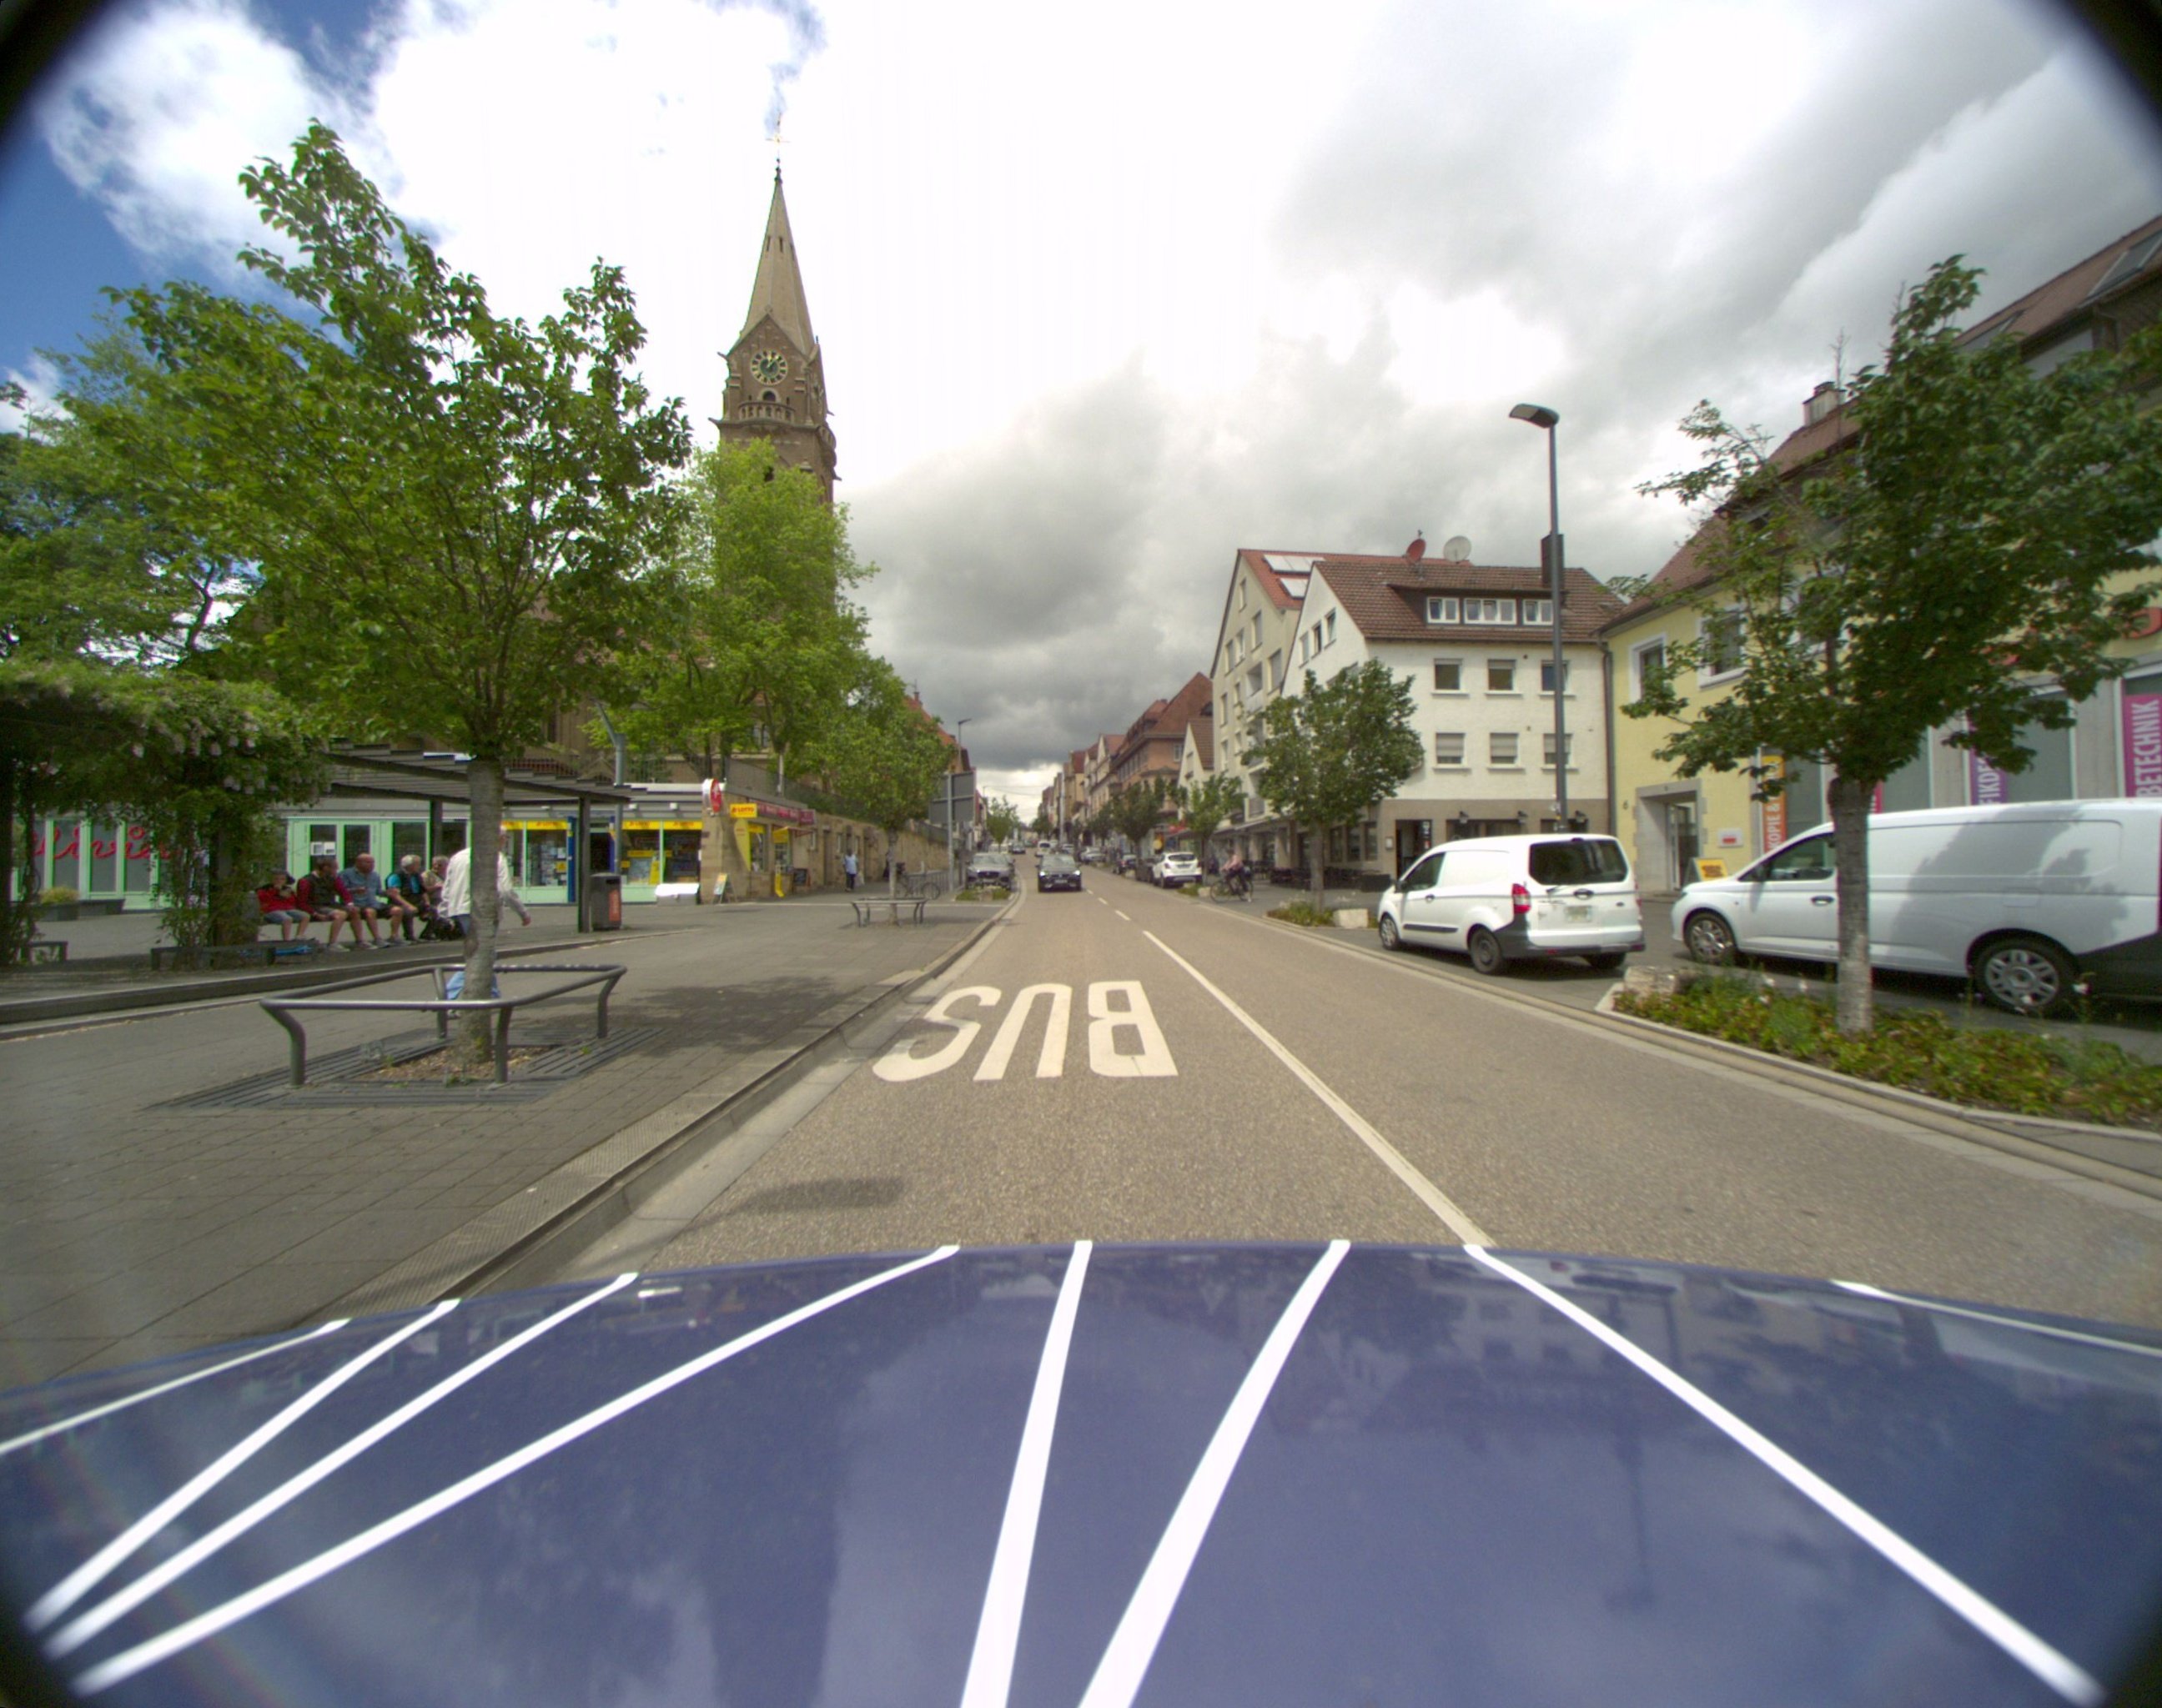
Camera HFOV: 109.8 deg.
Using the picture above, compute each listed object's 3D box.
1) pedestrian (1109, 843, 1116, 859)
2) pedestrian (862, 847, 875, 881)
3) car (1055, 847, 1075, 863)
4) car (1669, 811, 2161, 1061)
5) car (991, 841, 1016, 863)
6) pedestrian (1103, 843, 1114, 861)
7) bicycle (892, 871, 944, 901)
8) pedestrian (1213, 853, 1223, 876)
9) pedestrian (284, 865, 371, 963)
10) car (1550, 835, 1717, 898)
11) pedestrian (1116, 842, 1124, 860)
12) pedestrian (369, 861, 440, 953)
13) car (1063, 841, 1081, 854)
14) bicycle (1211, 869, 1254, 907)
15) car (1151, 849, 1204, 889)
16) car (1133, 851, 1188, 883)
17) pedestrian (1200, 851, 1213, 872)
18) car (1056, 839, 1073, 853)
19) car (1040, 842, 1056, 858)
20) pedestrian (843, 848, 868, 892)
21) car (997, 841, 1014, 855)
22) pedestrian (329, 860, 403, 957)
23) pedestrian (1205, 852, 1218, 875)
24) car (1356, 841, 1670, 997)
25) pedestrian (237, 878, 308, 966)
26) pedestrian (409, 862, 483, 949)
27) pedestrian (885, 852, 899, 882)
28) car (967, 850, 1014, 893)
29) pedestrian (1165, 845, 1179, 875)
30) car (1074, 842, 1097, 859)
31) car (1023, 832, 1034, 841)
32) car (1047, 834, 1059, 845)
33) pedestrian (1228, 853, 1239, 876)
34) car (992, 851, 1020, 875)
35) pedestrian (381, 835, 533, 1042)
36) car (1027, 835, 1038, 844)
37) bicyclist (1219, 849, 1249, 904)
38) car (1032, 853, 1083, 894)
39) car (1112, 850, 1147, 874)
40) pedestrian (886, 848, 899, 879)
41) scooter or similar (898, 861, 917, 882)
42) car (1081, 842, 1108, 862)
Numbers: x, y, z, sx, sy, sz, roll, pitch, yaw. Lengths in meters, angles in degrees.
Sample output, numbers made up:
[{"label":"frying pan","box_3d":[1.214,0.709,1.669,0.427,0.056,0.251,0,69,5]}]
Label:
[{"label":"pedestrian","box_3d":[2.910,-0.292,69.990,0.497,1.469,0.528,-1,3,-8]},{"label":"pedestrian","box_3d":[-10.629,0.495,37.980,0.474,1.636,0.506,0,2,6]},{"label":"car","box_3d":[-1.467,0.086,68.627,1.611,1.380,3.627,1,1,-4]},{"label":"car","box_3d":[8.575,0.558,7.588,1.761,1.803,4.475,-2,0,-3]},{"label":"car","box_3d":[-6.928,-0.243,68.467,1.890,1.837,5.028,0,2,-1]},{"label":"pedestrian","box_3d":[2.597,-0.193,72.237,0.873,1.657,0.905,-1,2,-8]},{"label":"bicycle","box_3d":[-5.607,1.097,26.167,1.732,0.990,0.345,1,1,-9]},{"label":"pedestrian","box_3d":[7.573,0.579,41.959,0.422,1.292,0.454,-2,1,-5]},{"label":"pedestrian","box_3d":[-9.885,0.774,9.987,0.569,1.254,0.542,0,-2,4]},{"label":"car","box_3d":[15.675,0.339,21.661,3.538,1.641,1.731,-1,0,-4]},{"label":"pedestrian","box_3d":[3.614,-0.293,69.942,0.615,1.573,0.641,-1,3,-8]},{"label":"pedestrian","box_3d":[-9.928,0.775,11.167,0.496,1.312,0.575,0,-2,3]},{"label":"car","box_3d":[-1.021,-0.734,87.904,1.733,1.423,3.500,-1,2,-6]},{"label":"bicycle","box_3d":[4.816,1.049,24.080,1.657,1.081,0.412,-3,3,-41]},{"label":"car","box_3d":[4.361,0.648,34.917,1.670,1.637,4.131,-2,1,-3]},{"label":"car","box_3d":[4.134,0.643,40.409,1.845,1.443,4.511,-2,2,-8]},{"label":"pedestrian","box_3d":[7.673,0.474,46.440,0.597,1.240,0.598,-2,2,-6]},{"label":"car","box_3d":[-2.105,-1.041,95.808,1.733,1.670,3.988,-1,2,-6]},{"label":"car","box_3d":[-3.831,-0.499,87.943,1.751,1.792,4.209,1,1,-5]},{"label":"pedestrian","box_3d":[-9.033,0.638,30.393,0.764,1.720,0.596,1,1,-37]},{"label":"car","box_3d":[-8.571,-0.707,86.246,1.817,1.440,3.941,2,2,-7]},{"label":"pedestrian","box_3d":[-9.949,0.748,10.589,0.499,1.312,0.525,0,-2,4]},{"label":"pedestrian","box_3d":[7.446,0.533,43.333,0.551,1.260,0.598,-2,2,-6]},{"label":"car","box_3d":[5.597,0.714,10.619,1.661,1.662,4.349,-2,0,-4]},{"label":"pedestrian","box_3d":[-10.083,0.837,9.483,0.477,1.082,0.368,0,-2,4]},{"label":"pedestrian","box_3d":[-9.849,0.791,11.801,0.617,1.312,0.586,0,-2,3]},{"label":"pedestrian","box_3d":[-9.648,0.647,38.776,0.590,1.515,0.583,0,1,-4]},{"label":"car","box_3d":[-3.988,0.711,33.628,1.934,1.714,4.570,0,1,-6]},{"label":"pedestrian","box_3d":[5.552,0.343,46.199,0.662,1.751,0.777,-1,2,-8]},{"label":"car","box_3d":[0.392,-0.344,74.904,1.669,1.518,3.959,-3,2,-8]},{"label":"car","box_3d":[-10.023,-3.389,145.258,1.831,1.680,3.855,0,2,-7]},{"label":"car","box_3d":[-4.181,-2.204,113.083,1.691,1.516,3.526,0,2,-6]},{"label":"pedestrian","box_3d":[8.460,0.564,42.038,0.428,1.242,0.566,-2,1,-5]},{"label":"car","box_3d":[-5.022,0.563,50.506,1.760,1.433,4.085,0,2,-7]},{"label":"pedestrian","box_3d":[-5.345,0.681,6.542,0.685,1.672,0.715,0,1,10]},{"label":"car","box_3d":[-8.390,-2.540,131.929,1.687,1.492,4.150,0,2,-6]},{"label":"bicyclist","box_3d":[4.859,0.700,24.114,0.779,1.685,0.508,-3,3,-39]},{"label":"car","box_3d":[-1.082,0.795,32.970,1.895,1.516,3.732,-2,2,-6]},{"label":"car","box_3d":[3.216,0.491,51.005,1.662,1.384,4.440,-1,2,-5]},{"label":"pedestrian","box_3d":[-9.828,0.488,39.612,0.474,1.636,0.506,0,2,6]},{"label":"scooter or similar","box_3d":[-9.062,0.887,39.618,0.813,1.066,0.560,0,2,6]},{"label":"car","box_3d":[1.180,-0.208,67.551,1.731,1.565,4.450,-1,2,-8]}]
